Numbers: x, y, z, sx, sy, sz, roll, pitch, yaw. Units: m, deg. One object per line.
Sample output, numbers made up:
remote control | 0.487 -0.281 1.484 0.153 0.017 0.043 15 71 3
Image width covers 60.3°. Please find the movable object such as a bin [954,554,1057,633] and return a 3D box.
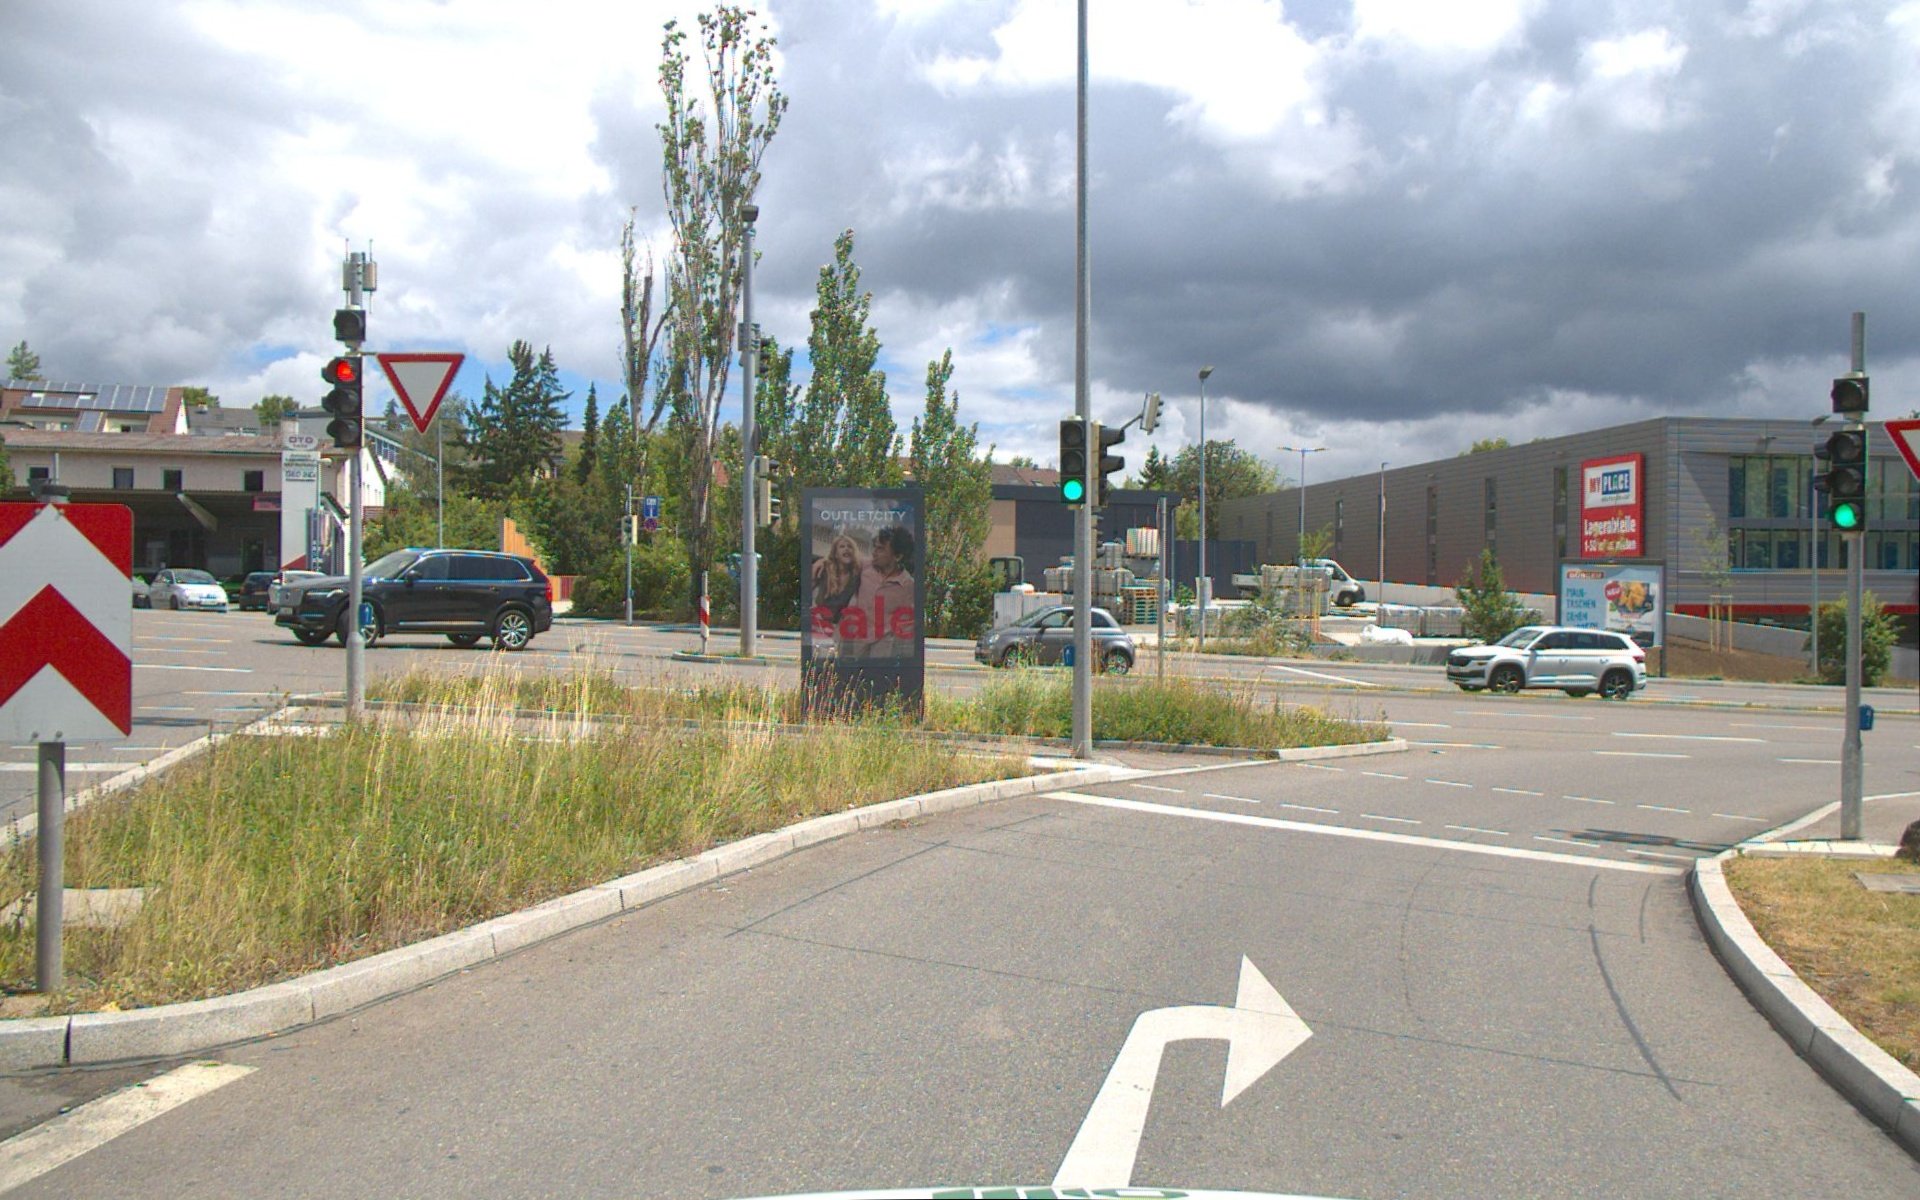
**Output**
movable object such as a bin | 1.632 -0.223 58.221 3.331 2.582 2.154 3 0 7

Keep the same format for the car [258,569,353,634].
car | -21.803 0.045 55.003 1.979 2.048 3.948 -2 1 -36

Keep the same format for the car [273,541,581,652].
car | -9.501 -0.021 29.801 1.879 1.719 4.947 4 0 44

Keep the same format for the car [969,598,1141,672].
car | 2.057 0.731 36.024 3.452 1.486 1.580 -1 1 -13

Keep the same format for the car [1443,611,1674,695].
car | 13.843 1.224 38.340 4.798 1.687 1.729 2 0 -11

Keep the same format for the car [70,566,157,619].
car | -29.796 -0.288 58.197 1.727 1.680 3.794 2 1 -43

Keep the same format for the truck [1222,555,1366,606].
truck | 15.680 -0.900 77.867 6.421 2.183 2.001 -2 1 4

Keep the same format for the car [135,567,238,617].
car | -24.936 -0.265 53.283 3.932 1.425 1.685 3 0 44
